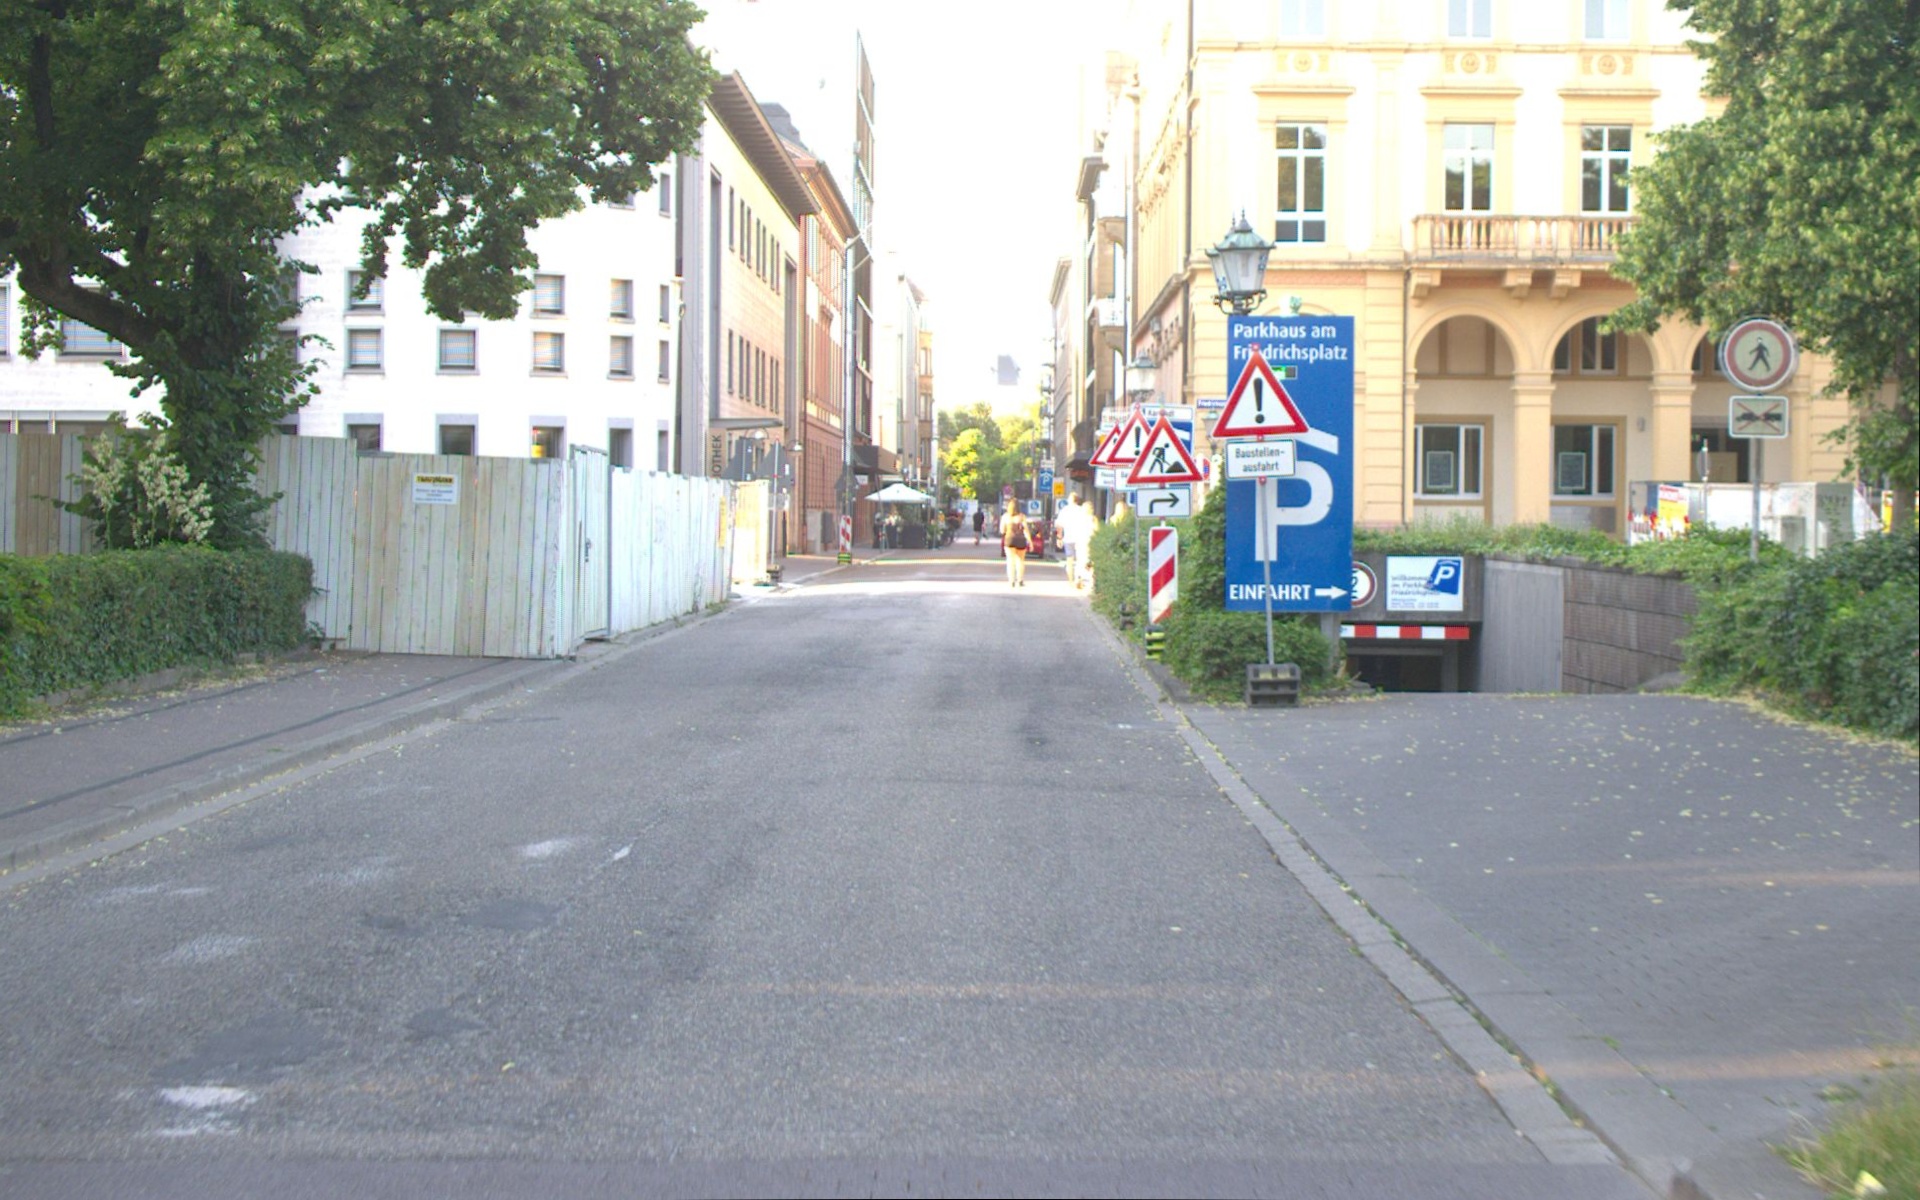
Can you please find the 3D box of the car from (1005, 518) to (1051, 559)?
[{"bbox_3d":[2.585,-2.346,130.590,1.649,1.422,3.535,3,2,1],"label":"car"}]

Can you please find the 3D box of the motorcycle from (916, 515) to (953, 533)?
[{"bbox_3d":[-1.254,-3.771,170.490,1.801,0.872,0.560,0,2,-3],"label":"motorcycle"}]

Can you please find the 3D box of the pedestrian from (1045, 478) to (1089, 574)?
[{"bbox_3d":[2.084,-1.447,67.090,0.812,1.869,0.875,0,1,0],"label":"pedestrian"}]

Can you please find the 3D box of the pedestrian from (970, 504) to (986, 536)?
[{"bbox_3d":[0.947,-4.233,182.435,0.804,1.667,0.888,0,2,3],"label":"pedestrian"}]

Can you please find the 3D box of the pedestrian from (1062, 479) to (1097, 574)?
[{"bbox_3d":[2.288,-1.408,65.723,0.636,1.797,0.772,0,1,0],"label":"pedestrian"}]

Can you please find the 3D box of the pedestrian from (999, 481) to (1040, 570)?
[{"bbox_3d":[1.152,-1.457,67.085,0.775,1.740,0.875,0,1,0],"label":"pedestrian"}]
